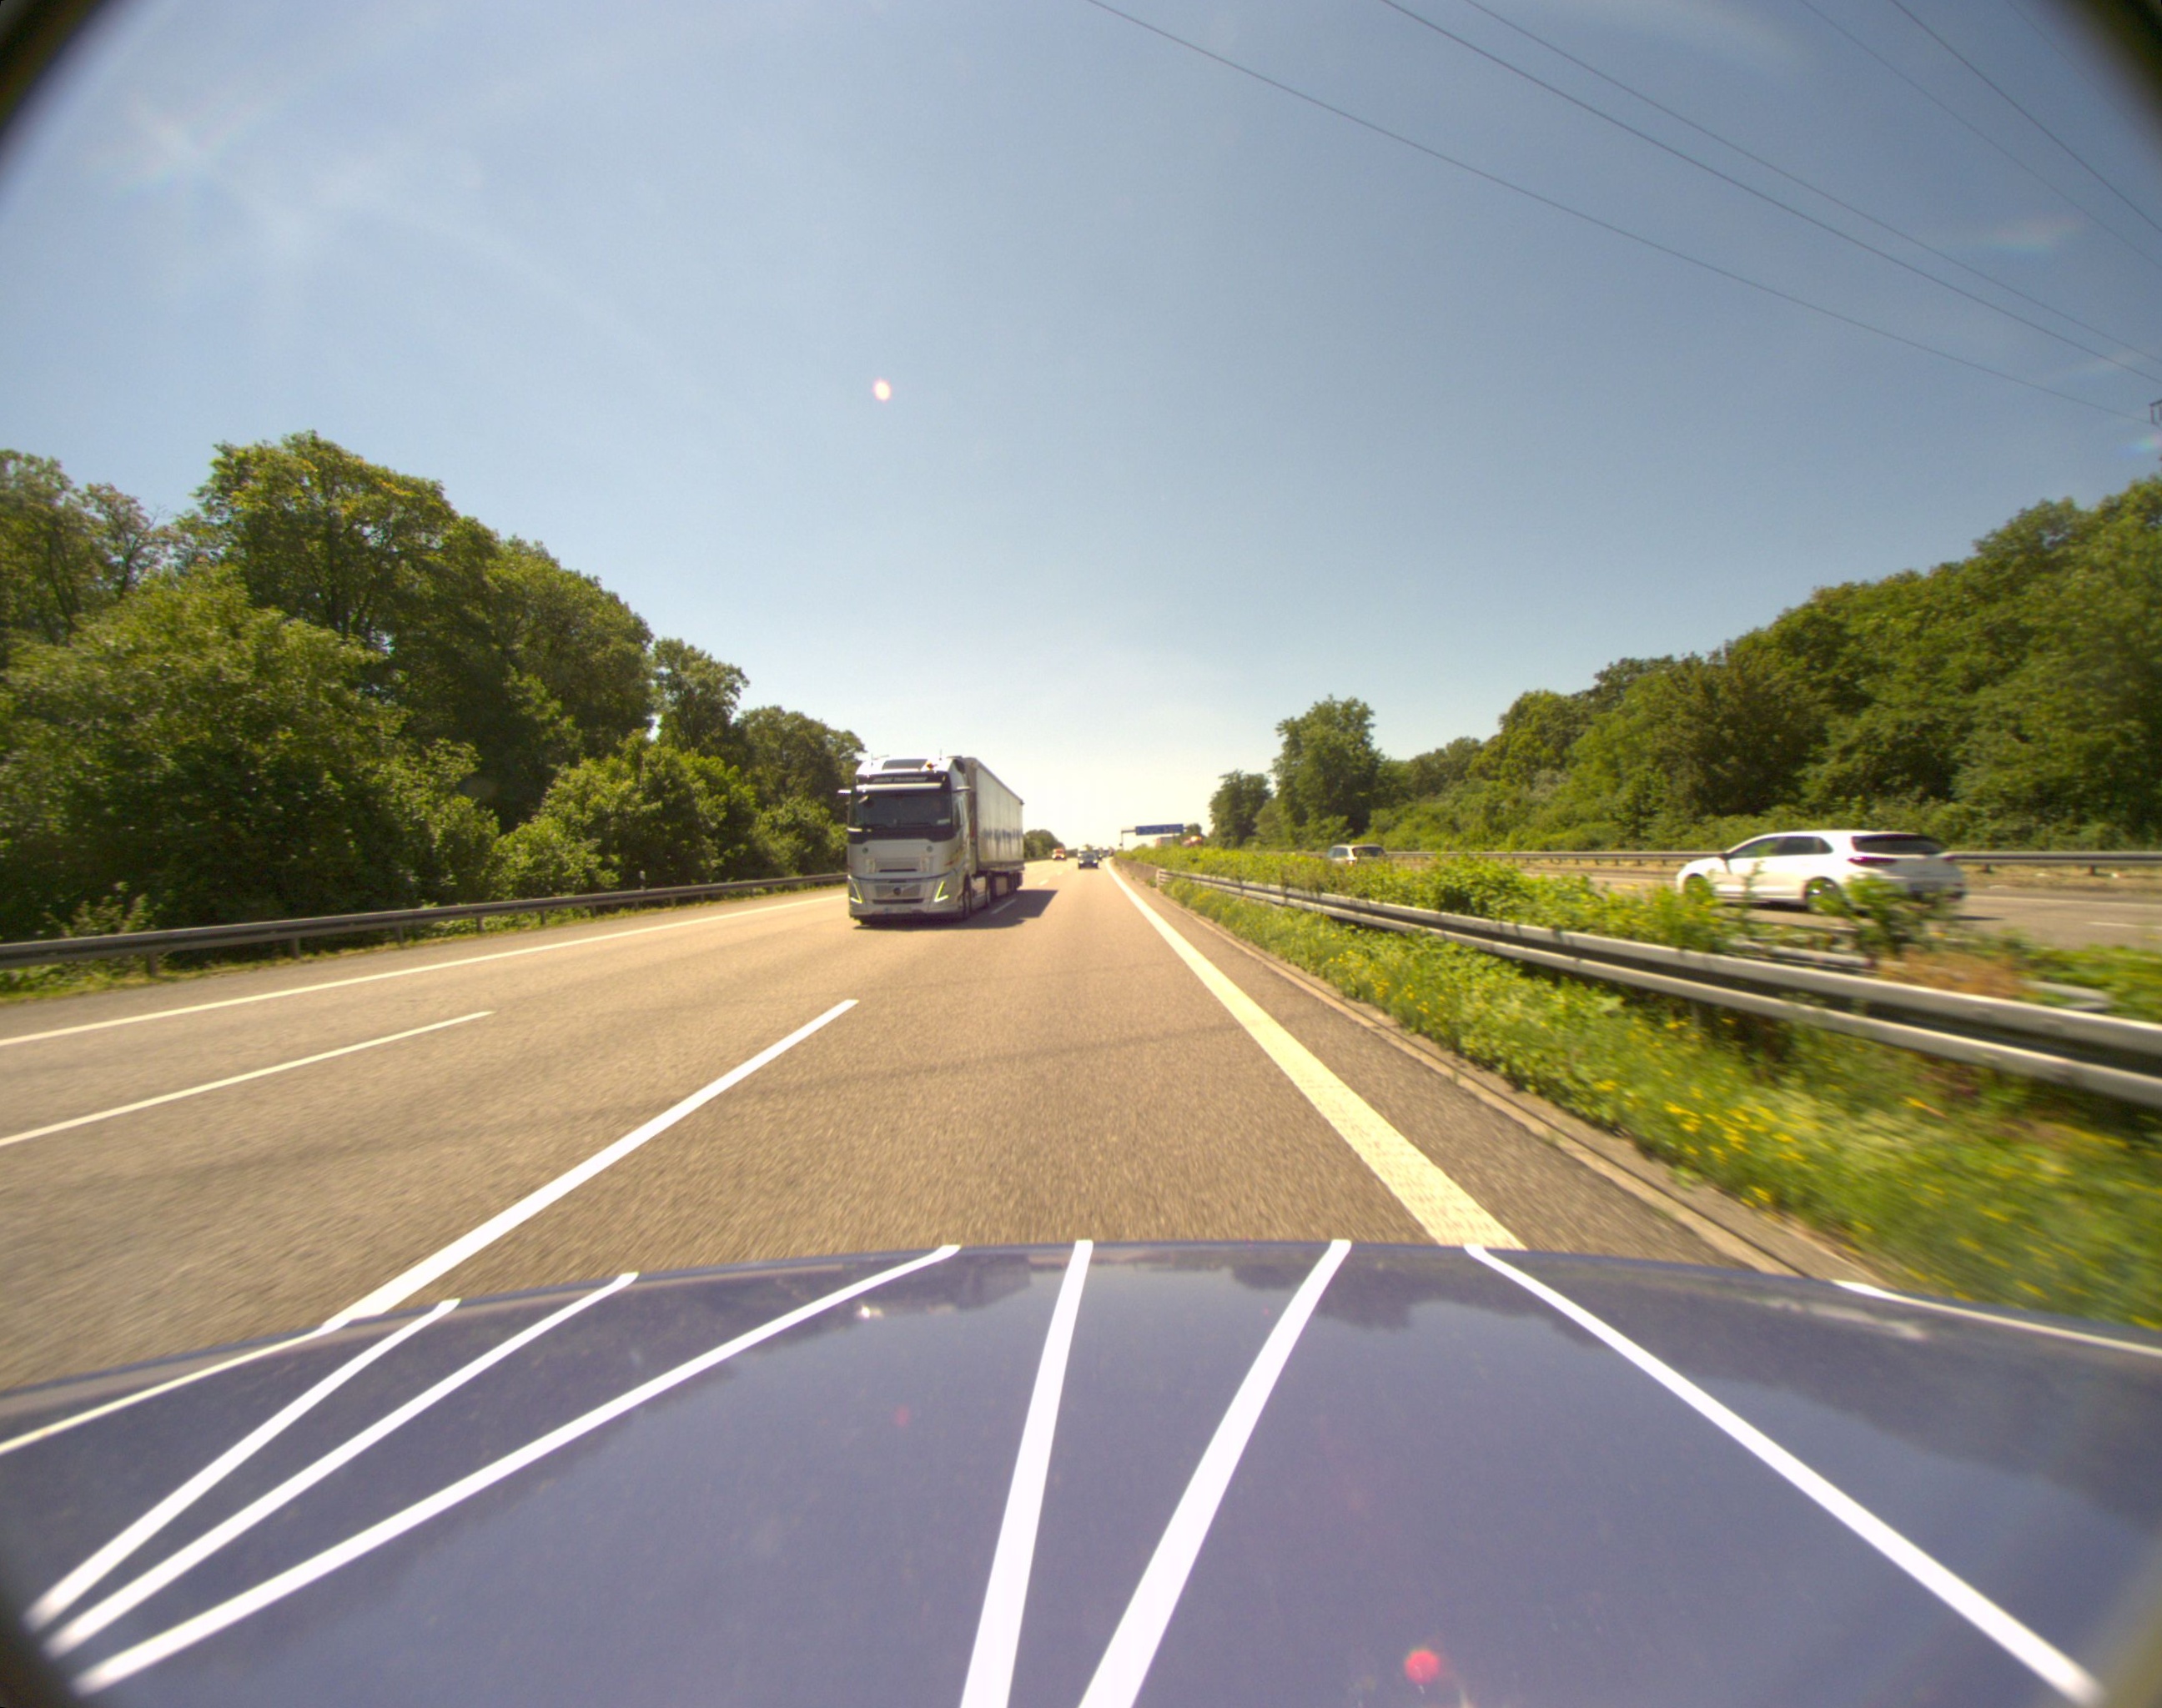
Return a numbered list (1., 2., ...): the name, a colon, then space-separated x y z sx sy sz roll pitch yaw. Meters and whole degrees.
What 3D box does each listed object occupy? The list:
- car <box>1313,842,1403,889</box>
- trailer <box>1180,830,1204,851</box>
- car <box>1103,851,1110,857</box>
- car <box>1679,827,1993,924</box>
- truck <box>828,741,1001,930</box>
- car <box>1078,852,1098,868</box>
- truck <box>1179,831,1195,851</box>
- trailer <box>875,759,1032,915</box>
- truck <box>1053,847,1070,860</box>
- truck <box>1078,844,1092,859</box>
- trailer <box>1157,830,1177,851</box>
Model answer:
1. car: 9.492 0.341 26.366 1.669 1.445 4.123 -2 1 2
2. trailer: 20.287 -2.439 139.645 2.377 3.575 14.220 -2 1 1
3. car: 6.768 -0.005 202.436 1.879 1.630 4.000 -2 0 1
4. car: 13.284 0.319 13.796 1.669 1.445 4.123 -2 1 2
5. truck: -3.905 -0.427 19.506 2.729 3.952 6.501 -2 1 1
6. car: 0.657 0.559 72.185 1.800 1.390 4.833 -2 0 0
7. truck: 20.414 -2.503 146.699 2.362 3.581 4.163 -2 1 1
8. trailer: -3.748 -0.492 26.480 2.747 3.952 13.653 -2 1 1
9. truck: -3.850 -0.160 151.302 2.436 2.426 10.011 -2 1 3
10. truck: 0.999 -0.534 173.186 2.859 3.163 10.712 -2 0 2
11. trailer: 16.856 -2.675 150.162 2.471 3.913 14.399 -2 1 1
